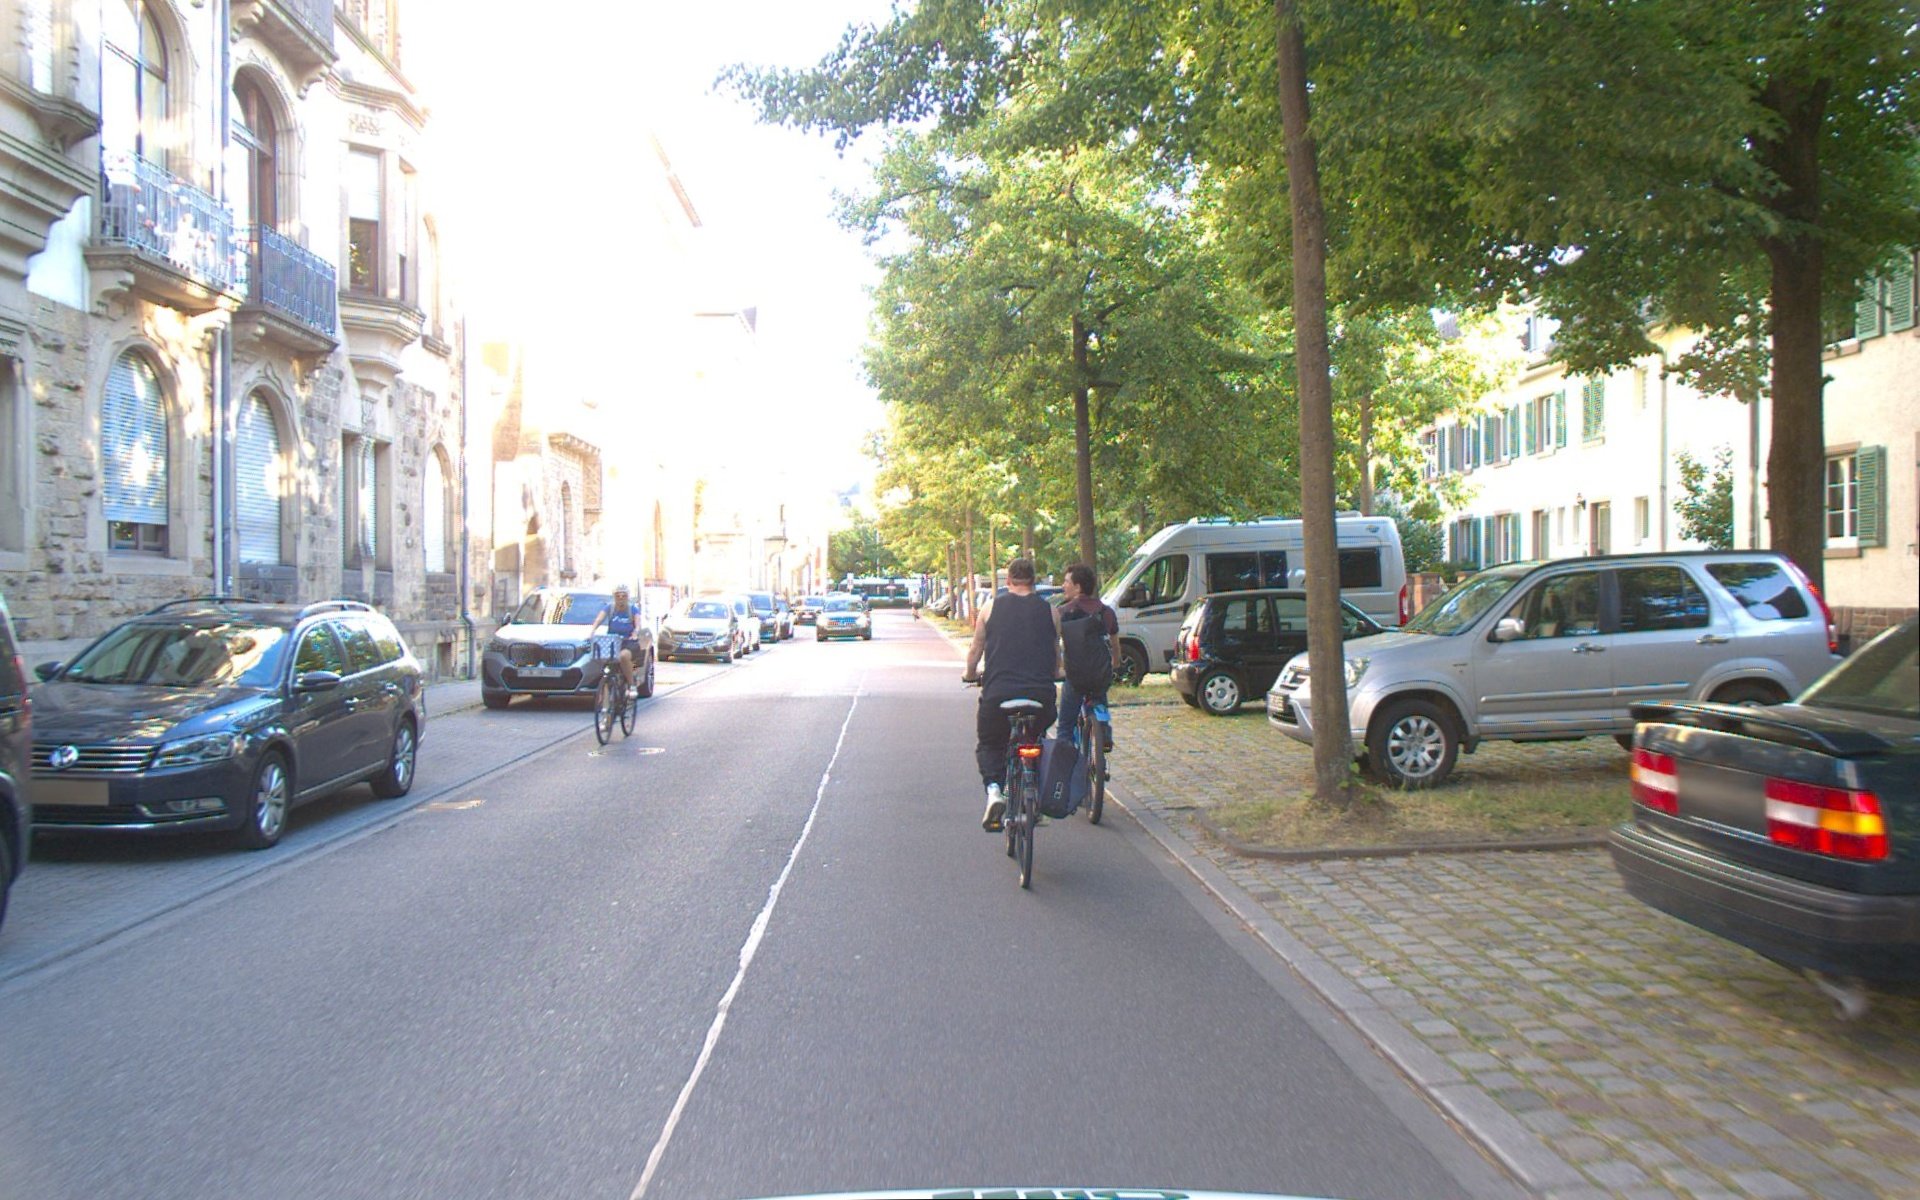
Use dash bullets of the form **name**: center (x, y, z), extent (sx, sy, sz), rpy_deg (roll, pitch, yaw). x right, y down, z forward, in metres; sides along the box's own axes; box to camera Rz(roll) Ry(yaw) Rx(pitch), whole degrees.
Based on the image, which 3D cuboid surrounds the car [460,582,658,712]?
- **car**: center (-5.553, 0.642, 23.456), extent (2.009, 1.650, 4.391), rpy_deg (0, -1, -4)

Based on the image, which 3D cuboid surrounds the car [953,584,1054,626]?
- **car**: center (2.046, 0.233, 78.620), extent (4.660, 1.811, 1.854), rpy_deg (-2, -1, -1)

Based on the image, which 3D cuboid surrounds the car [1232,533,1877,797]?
- **car**: center (4.593, 0.454, 13.210), extent (4.388, 1.698, 1.941), rpy_deg (-3, 1, -4)

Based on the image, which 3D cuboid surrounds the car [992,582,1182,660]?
- **car**: center (2.928, 0.494, 38.720), extent (4.161, 1.634, 1.751), rpy_deg (-2, -1, -5)

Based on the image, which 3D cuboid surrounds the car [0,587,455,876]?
- **car**: center (-5.084, 0.773, 11.599), extent (1.694, 1.602, 4.707), rpy_deg (-1, -1, -1)

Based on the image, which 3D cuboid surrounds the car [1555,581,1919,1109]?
- **car**: center (4.855, 0.600, 5.802), extent (4.797, 1.467, 1.940), rpy_deg (-3, -1, -4)

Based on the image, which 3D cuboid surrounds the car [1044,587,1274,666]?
- **car**: center (3.968, 0.534, 33.516), extent (4.411, 1.478, 1.815), rpy_deg (-1, -1, -1)

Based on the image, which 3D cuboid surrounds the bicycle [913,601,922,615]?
- **bicycle**: center (-2.562, 0.496, 99.800), extent (0.530, 0.842, 1.918), rpy_deg (0, -1, -2)

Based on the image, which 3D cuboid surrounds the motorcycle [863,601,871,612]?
- **motorcycle**: center (-7.188, 0.476, 127.708), extent (0.540, 0.815, 1.307), rpy_deg (-1, 0, -5)

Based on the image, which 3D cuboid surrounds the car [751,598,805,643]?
- **car**: center (-6.610, 0.735, 60.450), extent (1.583, 1.508, 4.016), rpy_deg (3, -1, -2)

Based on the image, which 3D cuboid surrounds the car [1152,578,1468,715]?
- **car**: center (4.223, 0.559, 20.322), extent (3.431, 1.498, 1.750), rpy_deg (-2, -1, -3)

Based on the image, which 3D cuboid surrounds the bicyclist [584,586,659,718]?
- **bicyclist**: center (-3.666, 0.541, 17.987), extent (0.652, 1.368, 1.059), rpy_deg (-2, 1, -6)

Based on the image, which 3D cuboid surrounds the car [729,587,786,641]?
- **car**: center (-6.695, 0.483, 54.874), extent (1.598, 1.694, 3.966), rpy_deg (0, -1, -3)

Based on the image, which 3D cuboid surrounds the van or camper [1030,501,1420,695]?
- **van or camper**: center (3.964, -0.021, 25.435), extent (5.465, 2.581, 2.266), rpy_deg (-3, -1, -4)

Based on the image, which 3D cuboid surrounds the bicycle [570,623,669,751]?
- **bicycle**: center (-3.668, 0.897, 18.026), extent (0.738, 1.199, 2.618), rpy_deg (-2, 1, -5)

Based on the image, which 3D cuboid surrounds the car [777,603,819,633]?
- **car**: center (-8.382, 0.957, 85.900), extent (1.954, 1.512, 3.997), rpy_deg (0, -1, -3)

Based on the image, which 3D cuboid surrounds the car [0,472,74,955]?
- **car**: center (-4.834, 0.473, 5.176), extent (1.930, 2.009, 4.494), rpy_deg (1, 0, -4)

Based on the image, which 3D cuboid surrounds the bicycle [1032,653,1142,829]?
- **bicycle**: center (0.885, 0.965, 11.936), extent (0.544, 1.091, 1.967), rpy_deg (0, 0, -3)

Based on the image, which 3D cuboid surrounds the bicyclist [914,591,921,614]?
- **bicyclist**: center (-2.565, 0.167, 99.674), extent (0.408, 1.374, 0.430), rpy_deg (0, -1, -2)

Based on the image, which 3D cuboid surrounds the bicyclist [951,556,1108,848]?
- **bicyclist**: center (0.373, 0.549, 9.359), extent (0.693, 1.553, 0.970), rpy_deg (0, -1, -10)

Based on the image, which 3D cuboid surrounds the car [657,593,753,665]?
- **car**: center (-6.055, 0.678, 39.676), extent (1.720, 1.544, 4.112), rpy_deg (3, -1, -2)

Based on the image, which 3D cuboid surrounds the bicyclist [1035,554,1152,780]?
- **bicyclist**: center (0.944, 0.470, 11.923), extent (0.704, 1.553, 0.971), rpy_deg (0, -1, -3)

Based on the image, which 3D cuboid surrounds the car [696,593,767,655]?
- **car**: center (-6.205, 0.640, 45.270), extent (1.461, 1.544, 3.773), rpy_deg (3, -1, -2)

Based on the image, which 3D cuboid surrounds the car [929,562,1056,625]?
- **car**: center (1.839, -0.335, 95.334), extent (7.184, 3.339, 2.222), rpy_deg (-2, -1, -1)

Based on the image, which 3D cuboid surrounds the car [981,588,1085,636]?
- **car**: center (2.998, 0.504, 68.659), extent (4.157, 1.828, 1.854), rpy_deg (-2, -1, -1)

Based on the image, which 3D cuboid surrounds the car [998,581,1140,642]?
- **car**: center (3.303, 0.360, 50.623), extent (4.157, 1.676, 1.854), rpy_deg (-2, -1, -1)

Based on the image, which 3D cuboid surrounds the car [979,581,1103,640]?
- **car**: center (2.810, 0.380, 58.015), extent (4.157, 1.872, 1.854), rpy_deg (-2, -1, -1)

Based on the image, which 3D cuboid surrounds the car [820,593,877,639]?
- **car**: center (-3.882, 0.554, 57.125), extent (1.859, 1.512, 4.376), rpy_deg (0, -1, -5)

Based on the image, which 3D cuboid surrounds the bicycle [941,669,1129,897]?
- **bicycle**: center (0.374, 0.964, 9.365), extent (0.683, 1.091, 1.964), rpy_deg (0, -1, -9)
